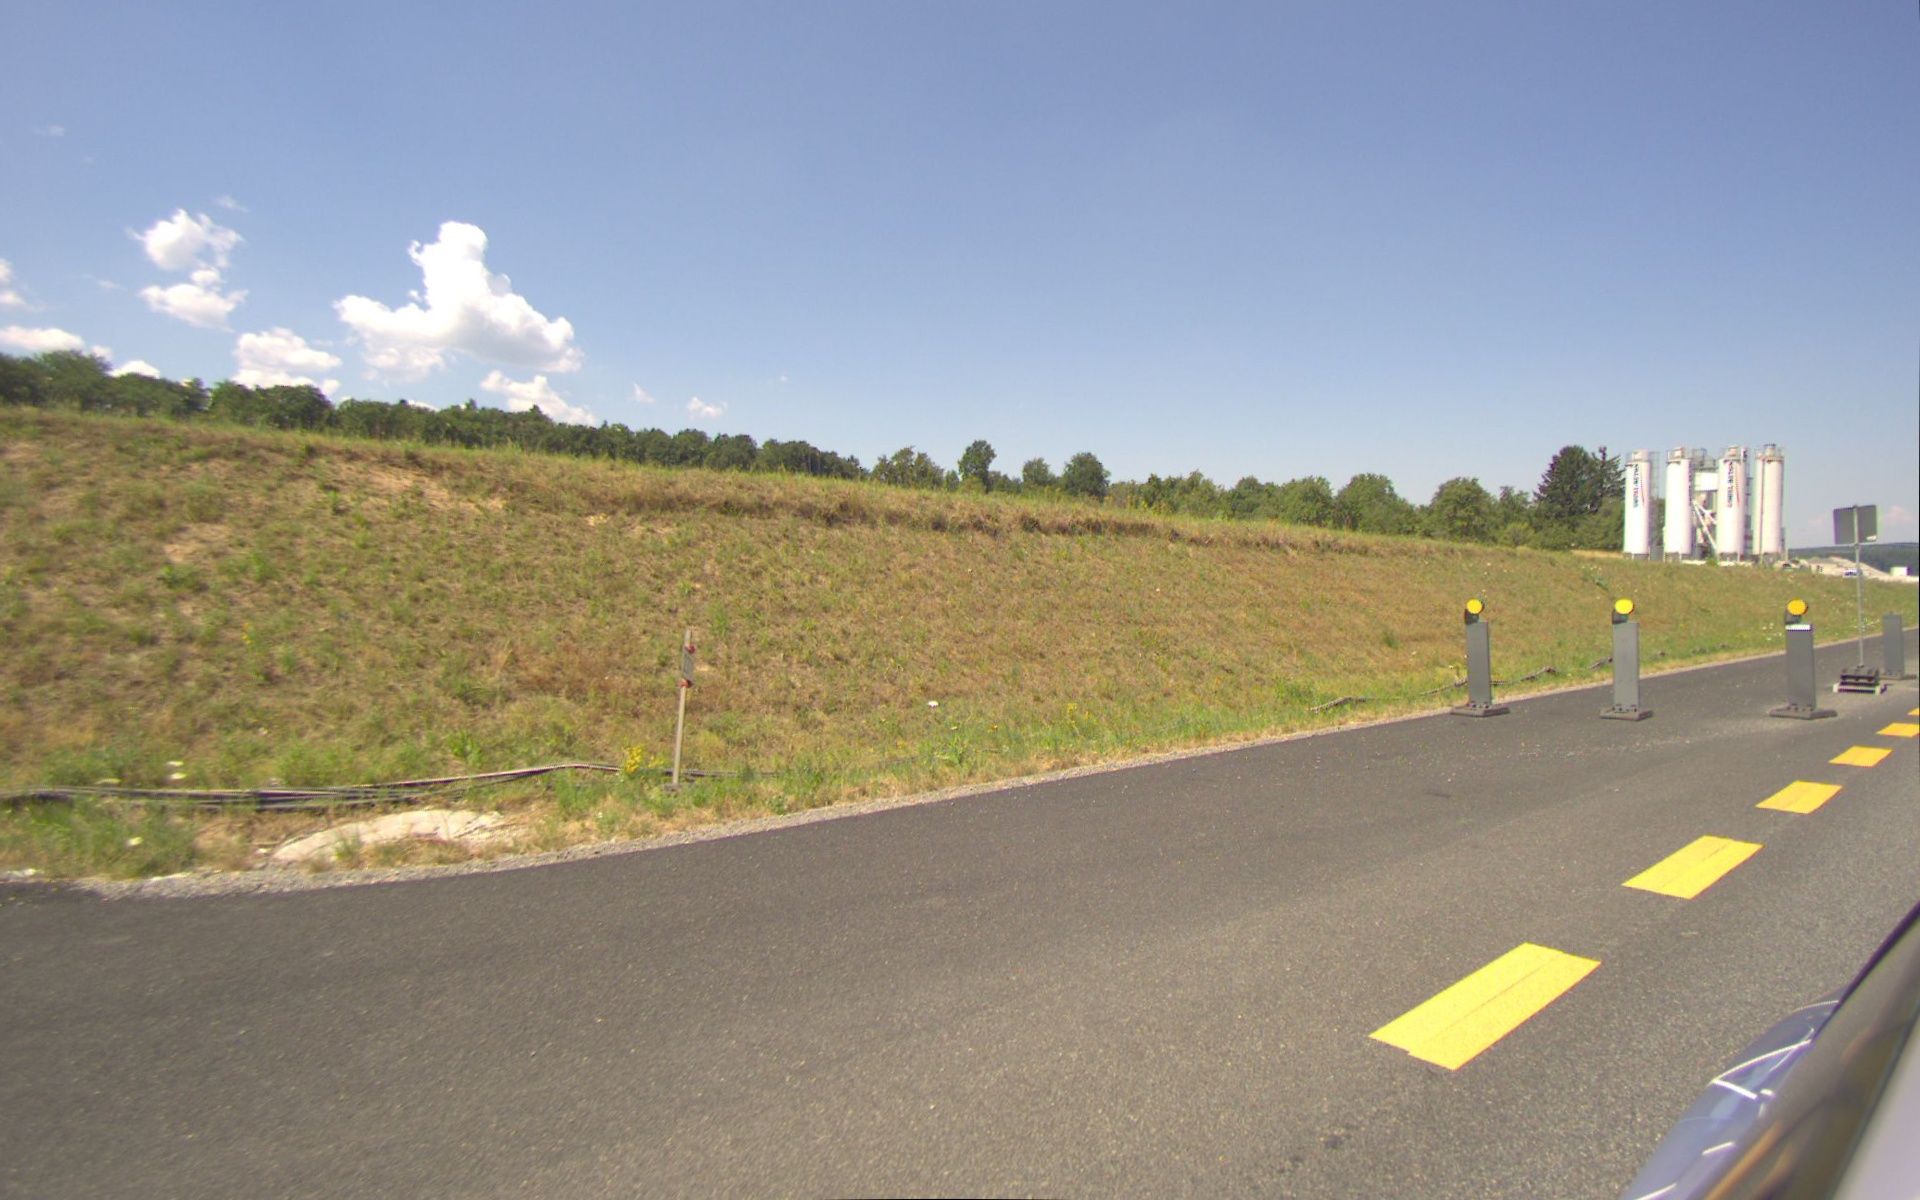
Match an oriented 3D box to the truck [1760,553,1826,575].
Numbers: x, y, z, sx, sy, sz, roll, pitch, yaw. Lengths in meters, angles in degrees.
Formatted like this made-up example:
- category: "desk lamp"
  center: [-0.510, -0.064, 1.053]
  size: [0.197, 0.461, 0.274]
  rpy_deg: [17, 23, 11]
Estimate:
- category: "truck"
  center: [99.382, -4.279, 120.848]
  size: [5.228, 2.576, 2.894]
  rpy_deg: [-1, 1, 13]
